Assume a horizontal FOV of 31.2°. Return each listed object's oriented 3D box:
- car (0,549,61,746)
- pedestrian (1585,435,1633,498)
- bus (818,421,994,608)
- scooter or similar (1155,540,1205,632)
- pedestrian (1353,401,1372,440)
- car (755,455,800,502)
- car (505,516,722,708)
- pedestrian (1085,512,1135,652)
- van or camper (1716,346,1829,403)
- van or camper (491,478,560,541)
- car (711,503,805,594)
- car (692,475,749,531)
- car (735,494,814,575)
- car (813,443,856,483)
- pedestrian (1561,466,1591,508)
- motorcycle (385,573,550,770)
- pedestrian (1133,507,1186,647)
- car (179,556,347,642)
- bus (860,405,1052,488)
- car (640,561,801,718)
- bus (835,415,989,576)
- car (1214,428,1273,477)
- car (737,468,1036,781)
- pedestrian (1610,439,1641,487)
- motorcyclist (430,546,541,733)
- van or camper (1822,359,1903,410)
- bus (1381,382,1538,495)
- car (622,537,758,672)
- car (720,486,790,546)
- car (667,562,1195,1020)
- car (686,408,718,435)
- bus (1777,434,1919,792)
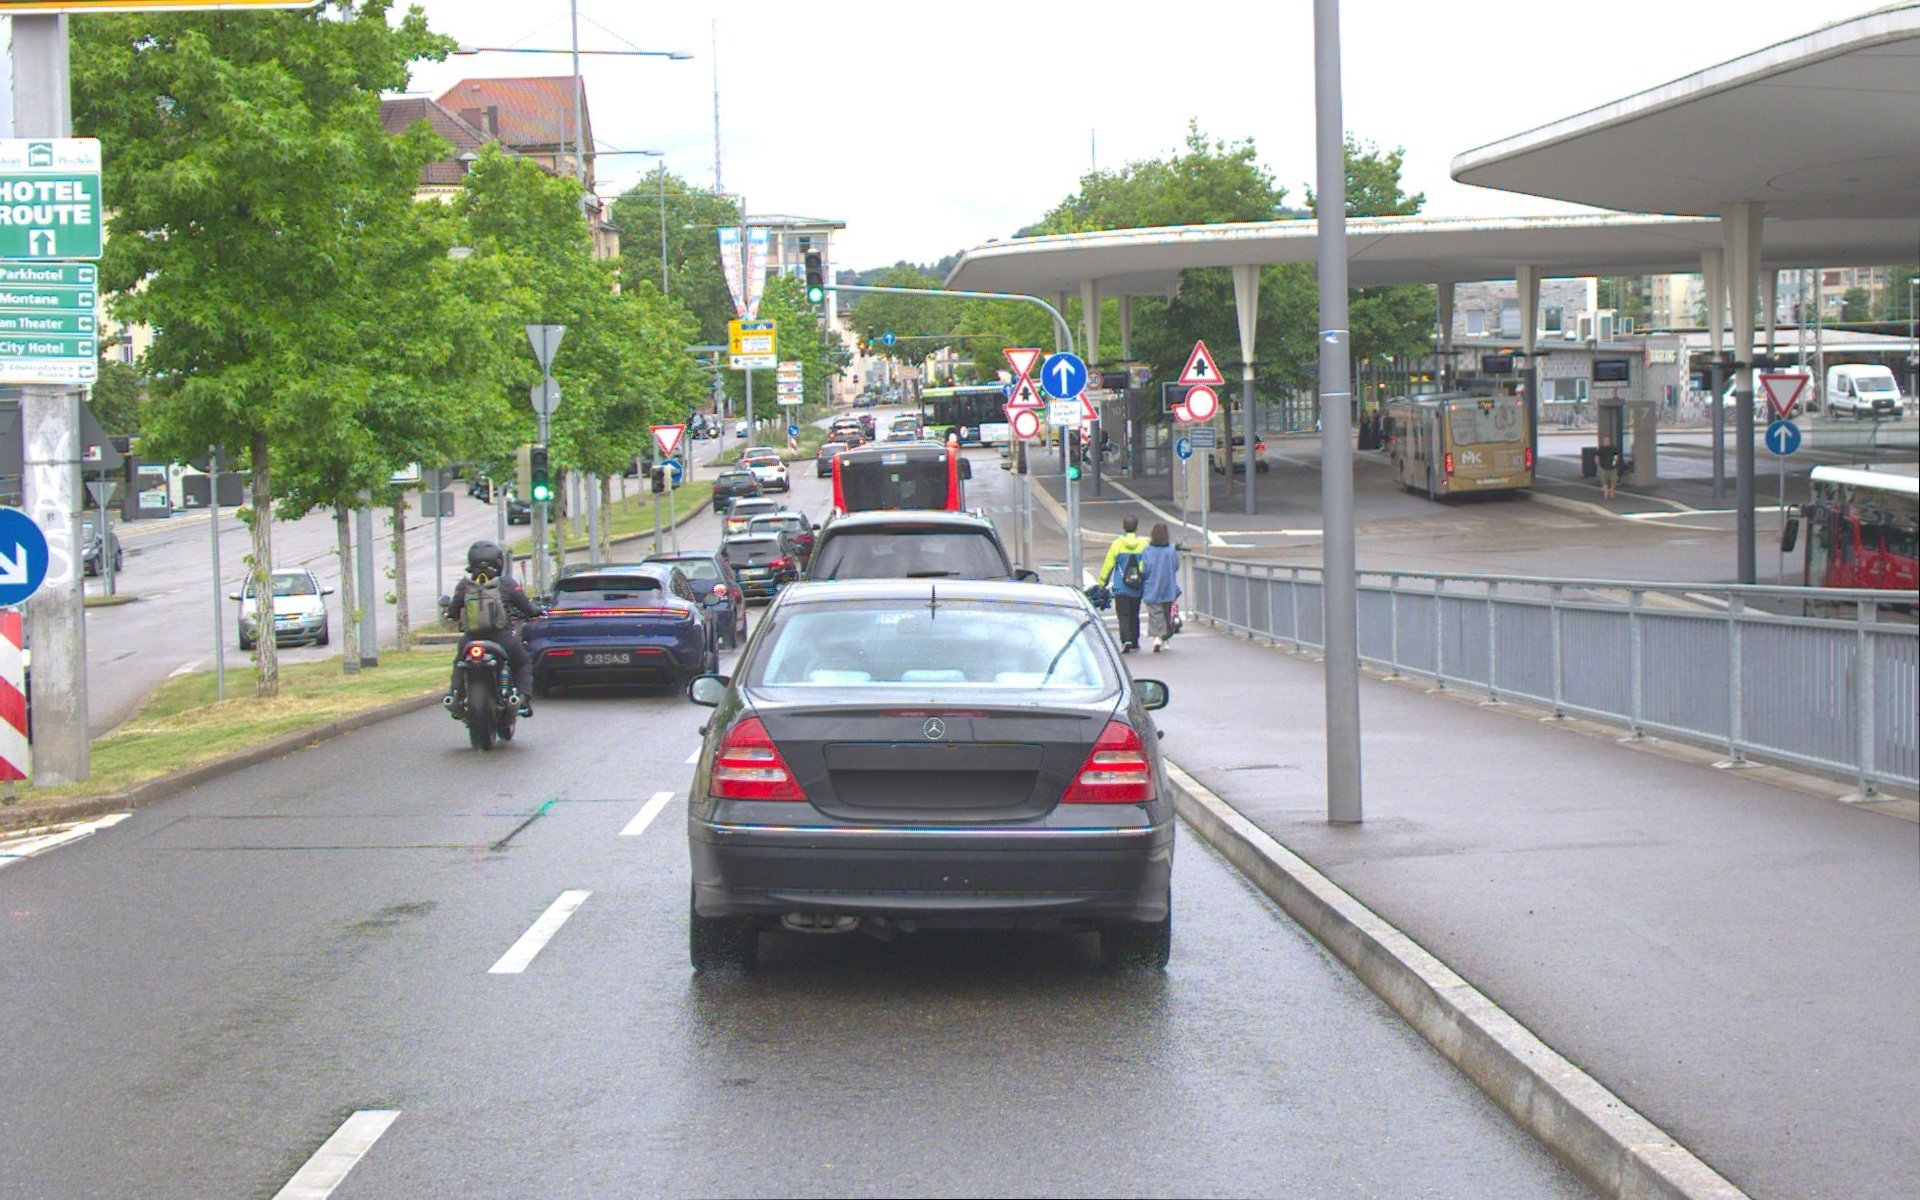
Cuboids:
[{"bbox_3d":[-10.647,0.498,36.548,1.844,1.961,4.686,-2,1,-12],"label":"car"},{"bbox_3d":[17.967,-3.695,95.155,0.717,1.678,1.021,-6,4,-26],"label":"pedestrian"},{"bbox_3d":[-1.078,-1.974,73.415,3.286,3.280,10.880,-3,4,0],"label":"bus"},{"bbox_3d":[3.030,-0.196,47.376,0.463,1.217,1.859,-3,1,-1],"label":"scooter or similar"},{"bbox_3d":[16.519,-7.374,141.233,0.580,1.573,0.560,1,0,29],"label":"pedestrian"},{"bbox_3d":[-7.374,-4.893,138.974,1.642,1.798,3.640,1,1,-1],"label":"car"},{"bbox_3d":[-3.631,0.066,36.747,1.816,1.565,4.405,-5,4,0],"label":"car"},{"bbox_3d":[1.810,-0.221,41.581,0.522,1.664,0.580,-1,1,-1],"label":"pedestrian"},{"bbox_3d":[37.115,-10.301,157.204,4.607,2.549,2.119,0,2,-2],"label":"van or camper"},{"bbox_3d":[-16.353,-3.378,129.141,2.216,2.065,5.285,-4,1,-9],"label":"van or camper"},{"bbox_3d":[-4.106,-1.080,70.213,1.575,1.499,3.872,-5,4,0],"label":"car"},{"bbox_3d":[-8.507,-3.444,122.574,1.797,1.900,3.640,1,0,-1],"label":"car"},{"bbox_3d":[-4.332,-1.562,80.594,1.575,1.561,3.872,-5,4,0],"label":"car"},{"bbox_3d":[-5.554,-6.065,152.455,1.865,1.678,4.000,0,1,-1],"label":"car"},{"bbox_3d":[18.788,-3.445,104.874,0.793,1.222,0.633,-2,4,17],"label":"pedestrian"},{"bbox_3d":[-3.692,0.515,25.920,0.793,1.257,1.855,-4,4,3],"label":"motorcycle"},{"bbox_3d":[2.400,-0.274,41.386,0.589,1.665,0.580,0,-1,-1],"label":"pedestrian"},{"bbox_3d":[-13.174,-0.031,64.836,1.632,1.443,3.876,-6,4,-34],"label":"car"},{"bbox_3d":[-0.304,-7.900,178.094,2.839,3.973,11.859,-6,5,-39],"label":"bus"},{"bbox_3d":[-3.049,0.467,44.509,1.741,1.561,3.872,-5,4,0],"label":"car"},{"bbox_3d":[-1.083,-2.597,81.984,3.291,3.277,8.851,-3,4,0],"label":"bus"},{"bbox_3d":[10.708,-5.602,130.152,1.711,1.656,4.241,-2,4,-2],"label":"car"},{"bbox_3d":[-0.549,0.085,26.640,1.957,1.869,4.875,-5,4,0],"label":"car"},{"bbox_3d":[19.857,-4.074,102.508,0.793,1.373,0.633,-2,4,17],"label":"pedestrian"},{"bbox_3d":[-3.614,0.294,26.229,0.641,1.342,0.689,-3,4,3],"label":"motorcyclist"},{"bbox_3d":[39.588,-9.424,150.925,1.993,2.095,5.481,0,2,-1],"label":"van or camper"},{"bbox_3d":[15.164,-5.039,105.264,2.721,3.032,12.092,-3,4,-1],"label":"bus"},{"bbox_3d":[-4.069,0.028,52.270,1.676,1.617,3.872,-5,4,0],"label":"car"},{"bbox_3d":[-5.920,-2.422,99.517,1.865,1.678,4.000,0,1,-1],"label":"car"},{"bbox_3d":[-0.137,0.592,13.222,1.697,1.457,4.304,0,1,-1],"label":"car"},{"bbox_3d":[-17.061,-11.794,227.489,1.780,1.561,3.431,-5,4,0],"label":"car"},{"bbox_3d":[11.012,0.322,33.346,2.844,3.349,12.430,1,5,-1],"label":"bus"}]
